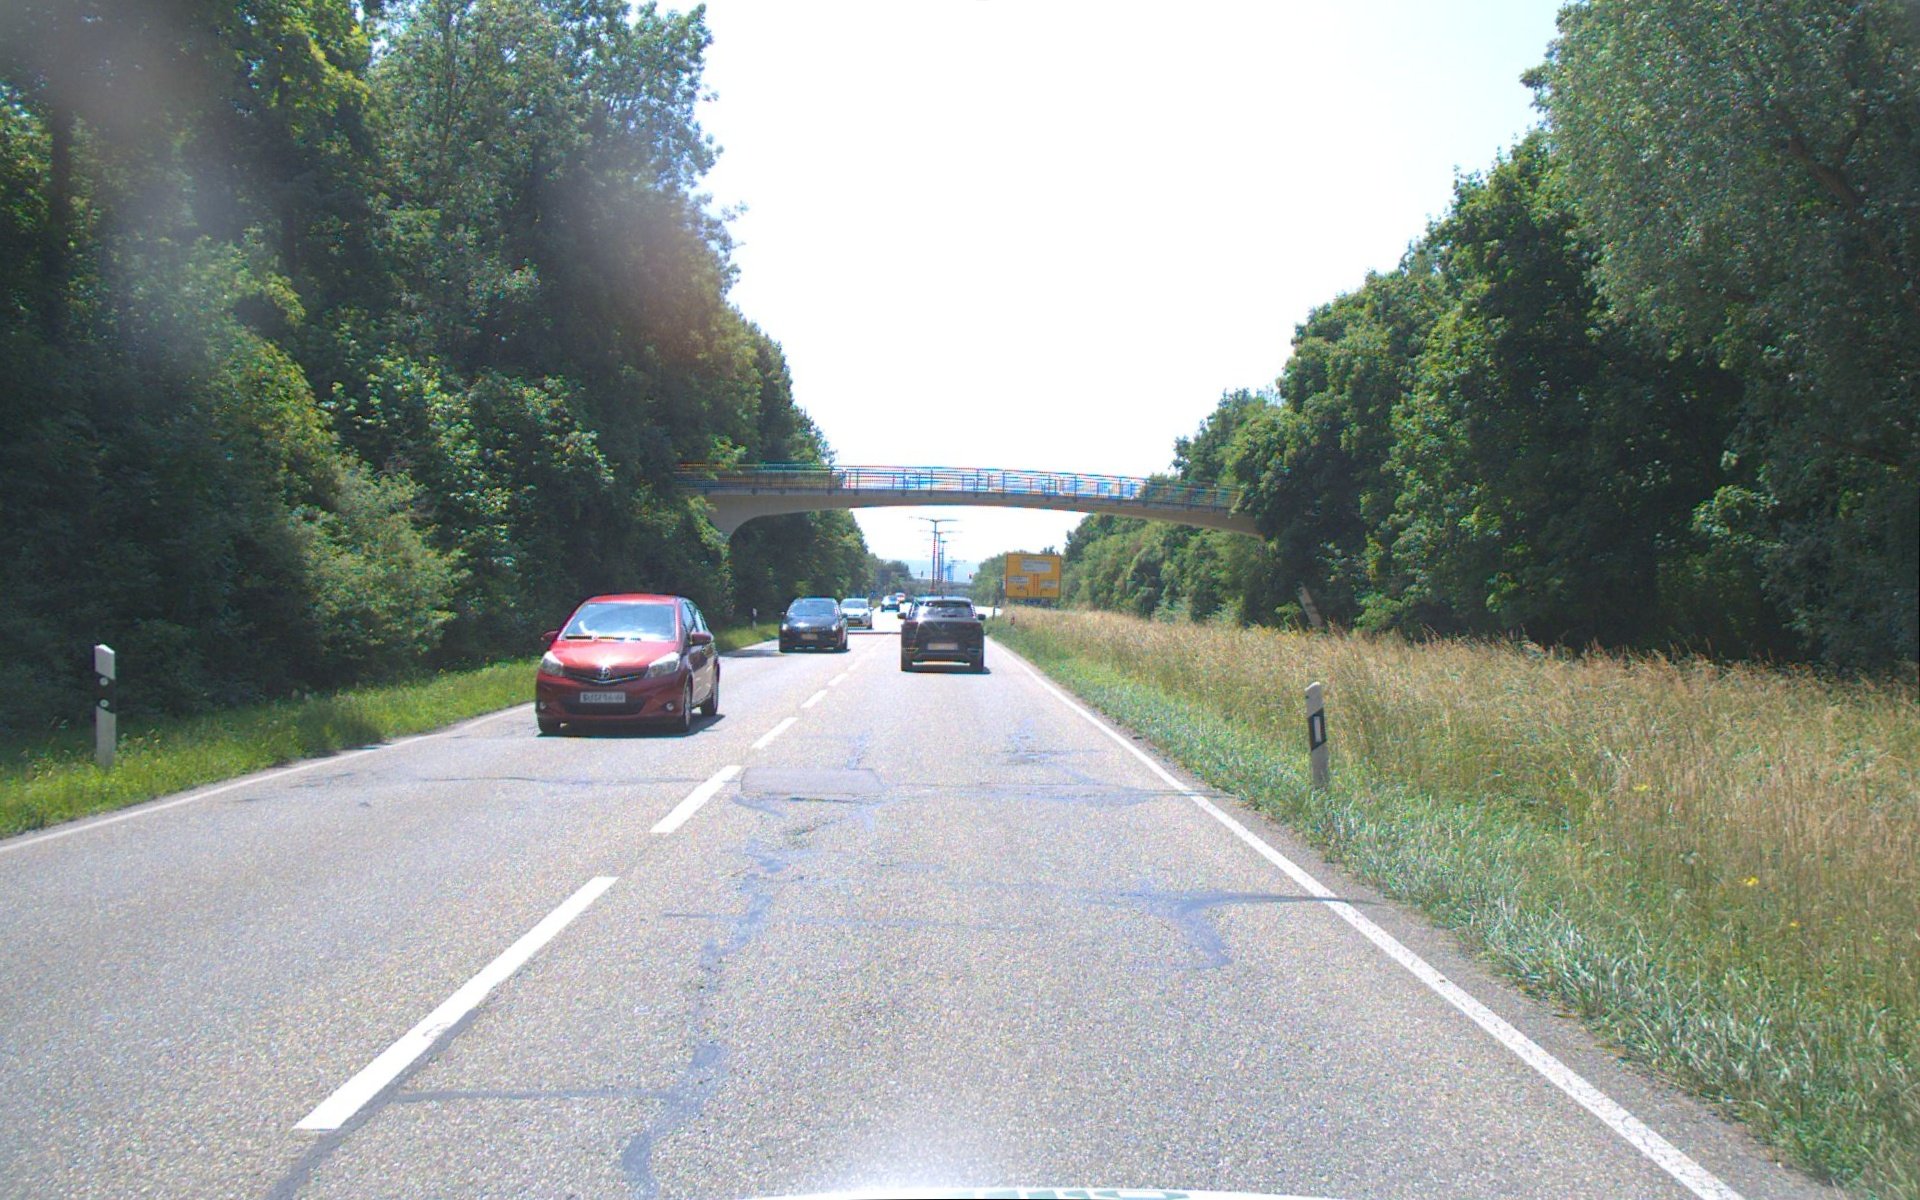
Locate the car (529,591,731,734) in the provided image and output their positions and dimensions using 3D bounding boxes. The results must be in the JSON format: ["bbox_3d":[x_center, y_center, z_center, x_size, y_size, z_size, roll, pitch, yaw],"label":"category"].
[{"bbox_3d":[-3.804,0.660,19.668,1.648,1.519,3.999,0,0,-1],"label":"car"}]

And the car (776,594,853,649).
[{"bbox_3d":[-4.064,0.590,46.730,1.747,1.475,4.109,0,0,0],"label":"car"}]

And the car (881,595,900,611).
[{"bbox_3d":[-7.145,0.335,170.587,1.786,1.618,4.418,0,0,-1],"label":"car"}]

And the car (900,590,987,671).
[{"bbox_3d":[-0.309,0.629,35.564,1.719,1.583,4.000,2,0,0],"label":"car"}]

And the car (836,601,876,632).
[{"bbox_3d":[-4.986,0.768,79.794,1.643,1.458,3.772,0,0,0],"label":"car"}]
